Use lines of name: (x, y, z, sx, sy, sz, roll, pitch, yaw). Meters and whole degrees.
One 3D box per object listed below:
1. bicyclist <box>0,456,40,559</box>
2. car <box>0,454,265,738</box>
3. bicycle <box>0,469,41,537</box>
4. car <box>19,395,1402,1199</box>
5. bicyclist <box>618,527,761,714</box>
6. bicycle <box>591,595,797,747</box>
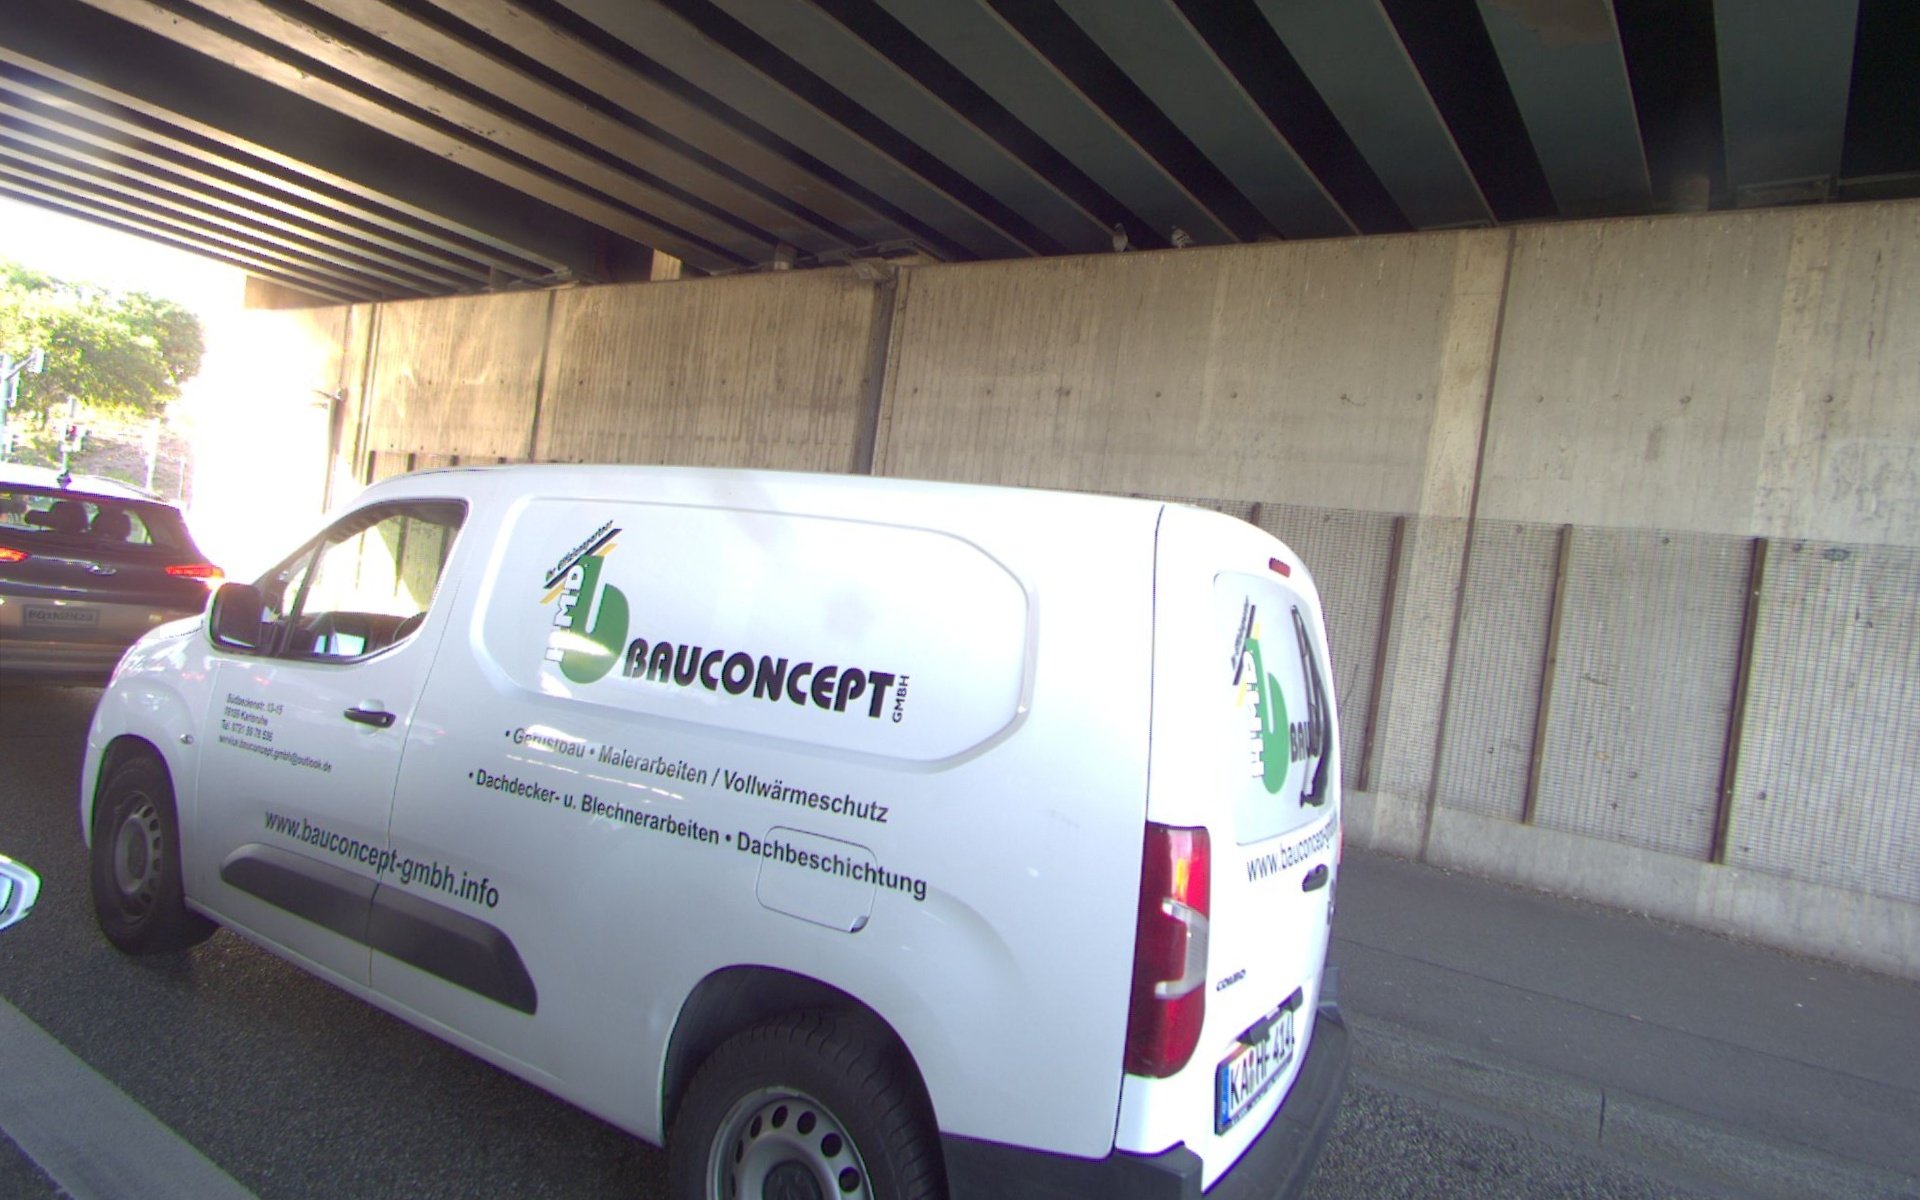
bicyclist: (-16.162, -1.576, 17.008, 0.635, 1.647, 0.676, 6, -2, 42)
car: (-7.146, -0.183, 7.326, 3.922, 1.675, 1.782, 7, -2, 30)
bicycle: (-16.147, -1.661, 17.001, 1.508, 1.036, 0.676, 6, -2, 43)
car: (-1.015, 0.523, 3.369, 4.227, 1.855, 1.818, 8, -1, 30)
bicyclist: (-2.431, 0.172, 9.043, 0.894, 1.544, 0.695, 7, 2, 32)
bicycle: (-2.403, 0.601, 9.007, 1.731, 1.071, 0.702, 8, 2, 32)
